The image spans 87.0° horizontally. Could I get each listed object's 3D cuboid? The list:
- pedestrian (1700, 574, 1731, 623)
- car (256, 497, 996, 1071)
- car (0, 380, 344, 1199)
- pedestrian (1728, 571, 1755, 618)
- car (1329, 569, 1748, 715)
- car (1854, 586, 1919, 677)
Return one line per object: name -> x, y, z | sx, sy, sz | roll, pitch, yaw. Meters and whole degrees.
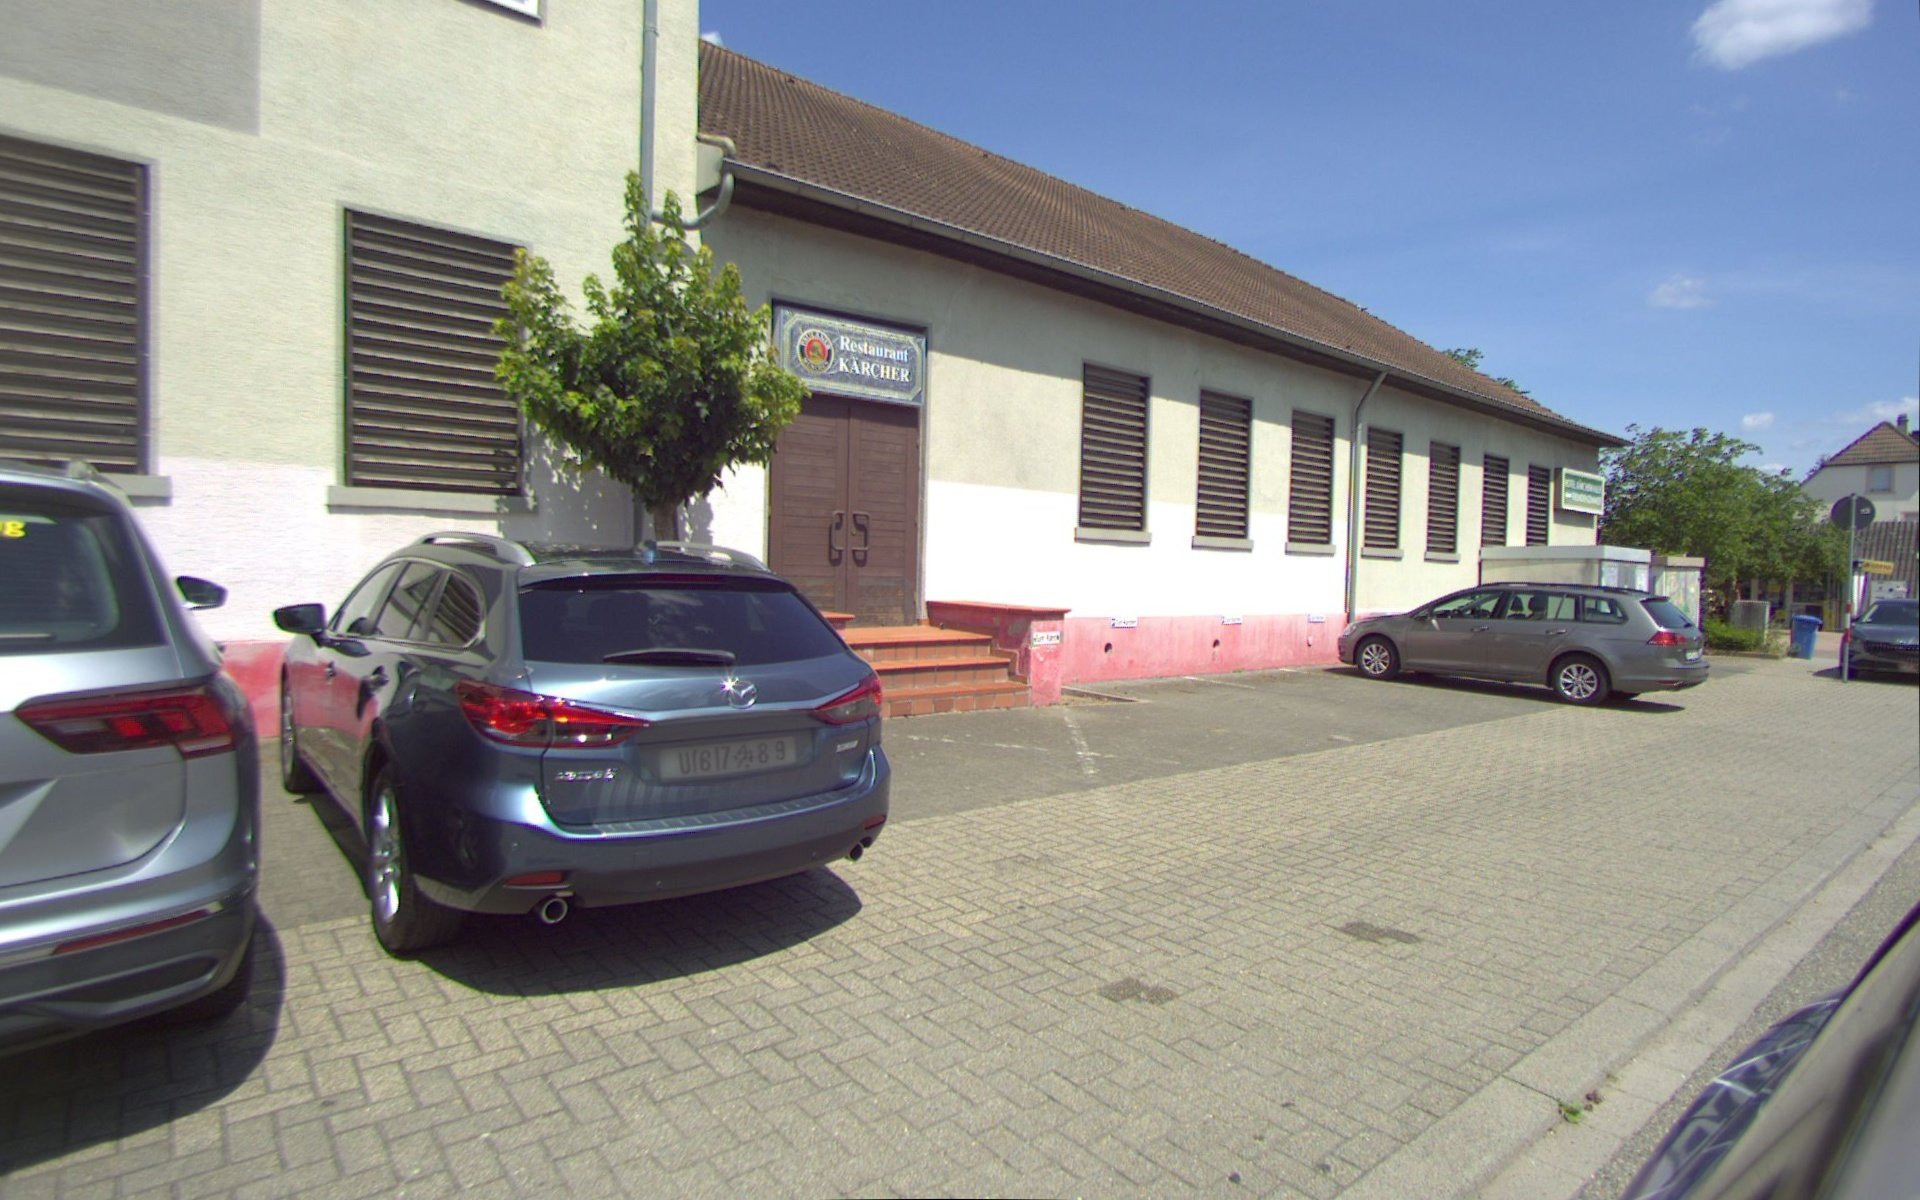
pedestrian -> 28.668, -0.066, 38.414 | 0.668, 1.811, 0.549 | 2, 1, 1
car -> -2.077, 0.357, 5.062 | 1.965, 1.538, 4.511 | 0, 3, -40
car -> -3.665, 0.284, 3.478 | 1.889, 1.717, 4.462 | 0, 3, -41
pedestrian -> 29.605, -0.221, 38.364 | 0.587, 1.741, 0.464 | 2, 1, 1
car -> 7.632, 0.420, 13.774 | 1.884, 1.472, 4.538 | 0, 3, -39
car -> 17.681, 0.535, 18.373 | 4.067, 1.507, 1.631 | 0, 2, -41
